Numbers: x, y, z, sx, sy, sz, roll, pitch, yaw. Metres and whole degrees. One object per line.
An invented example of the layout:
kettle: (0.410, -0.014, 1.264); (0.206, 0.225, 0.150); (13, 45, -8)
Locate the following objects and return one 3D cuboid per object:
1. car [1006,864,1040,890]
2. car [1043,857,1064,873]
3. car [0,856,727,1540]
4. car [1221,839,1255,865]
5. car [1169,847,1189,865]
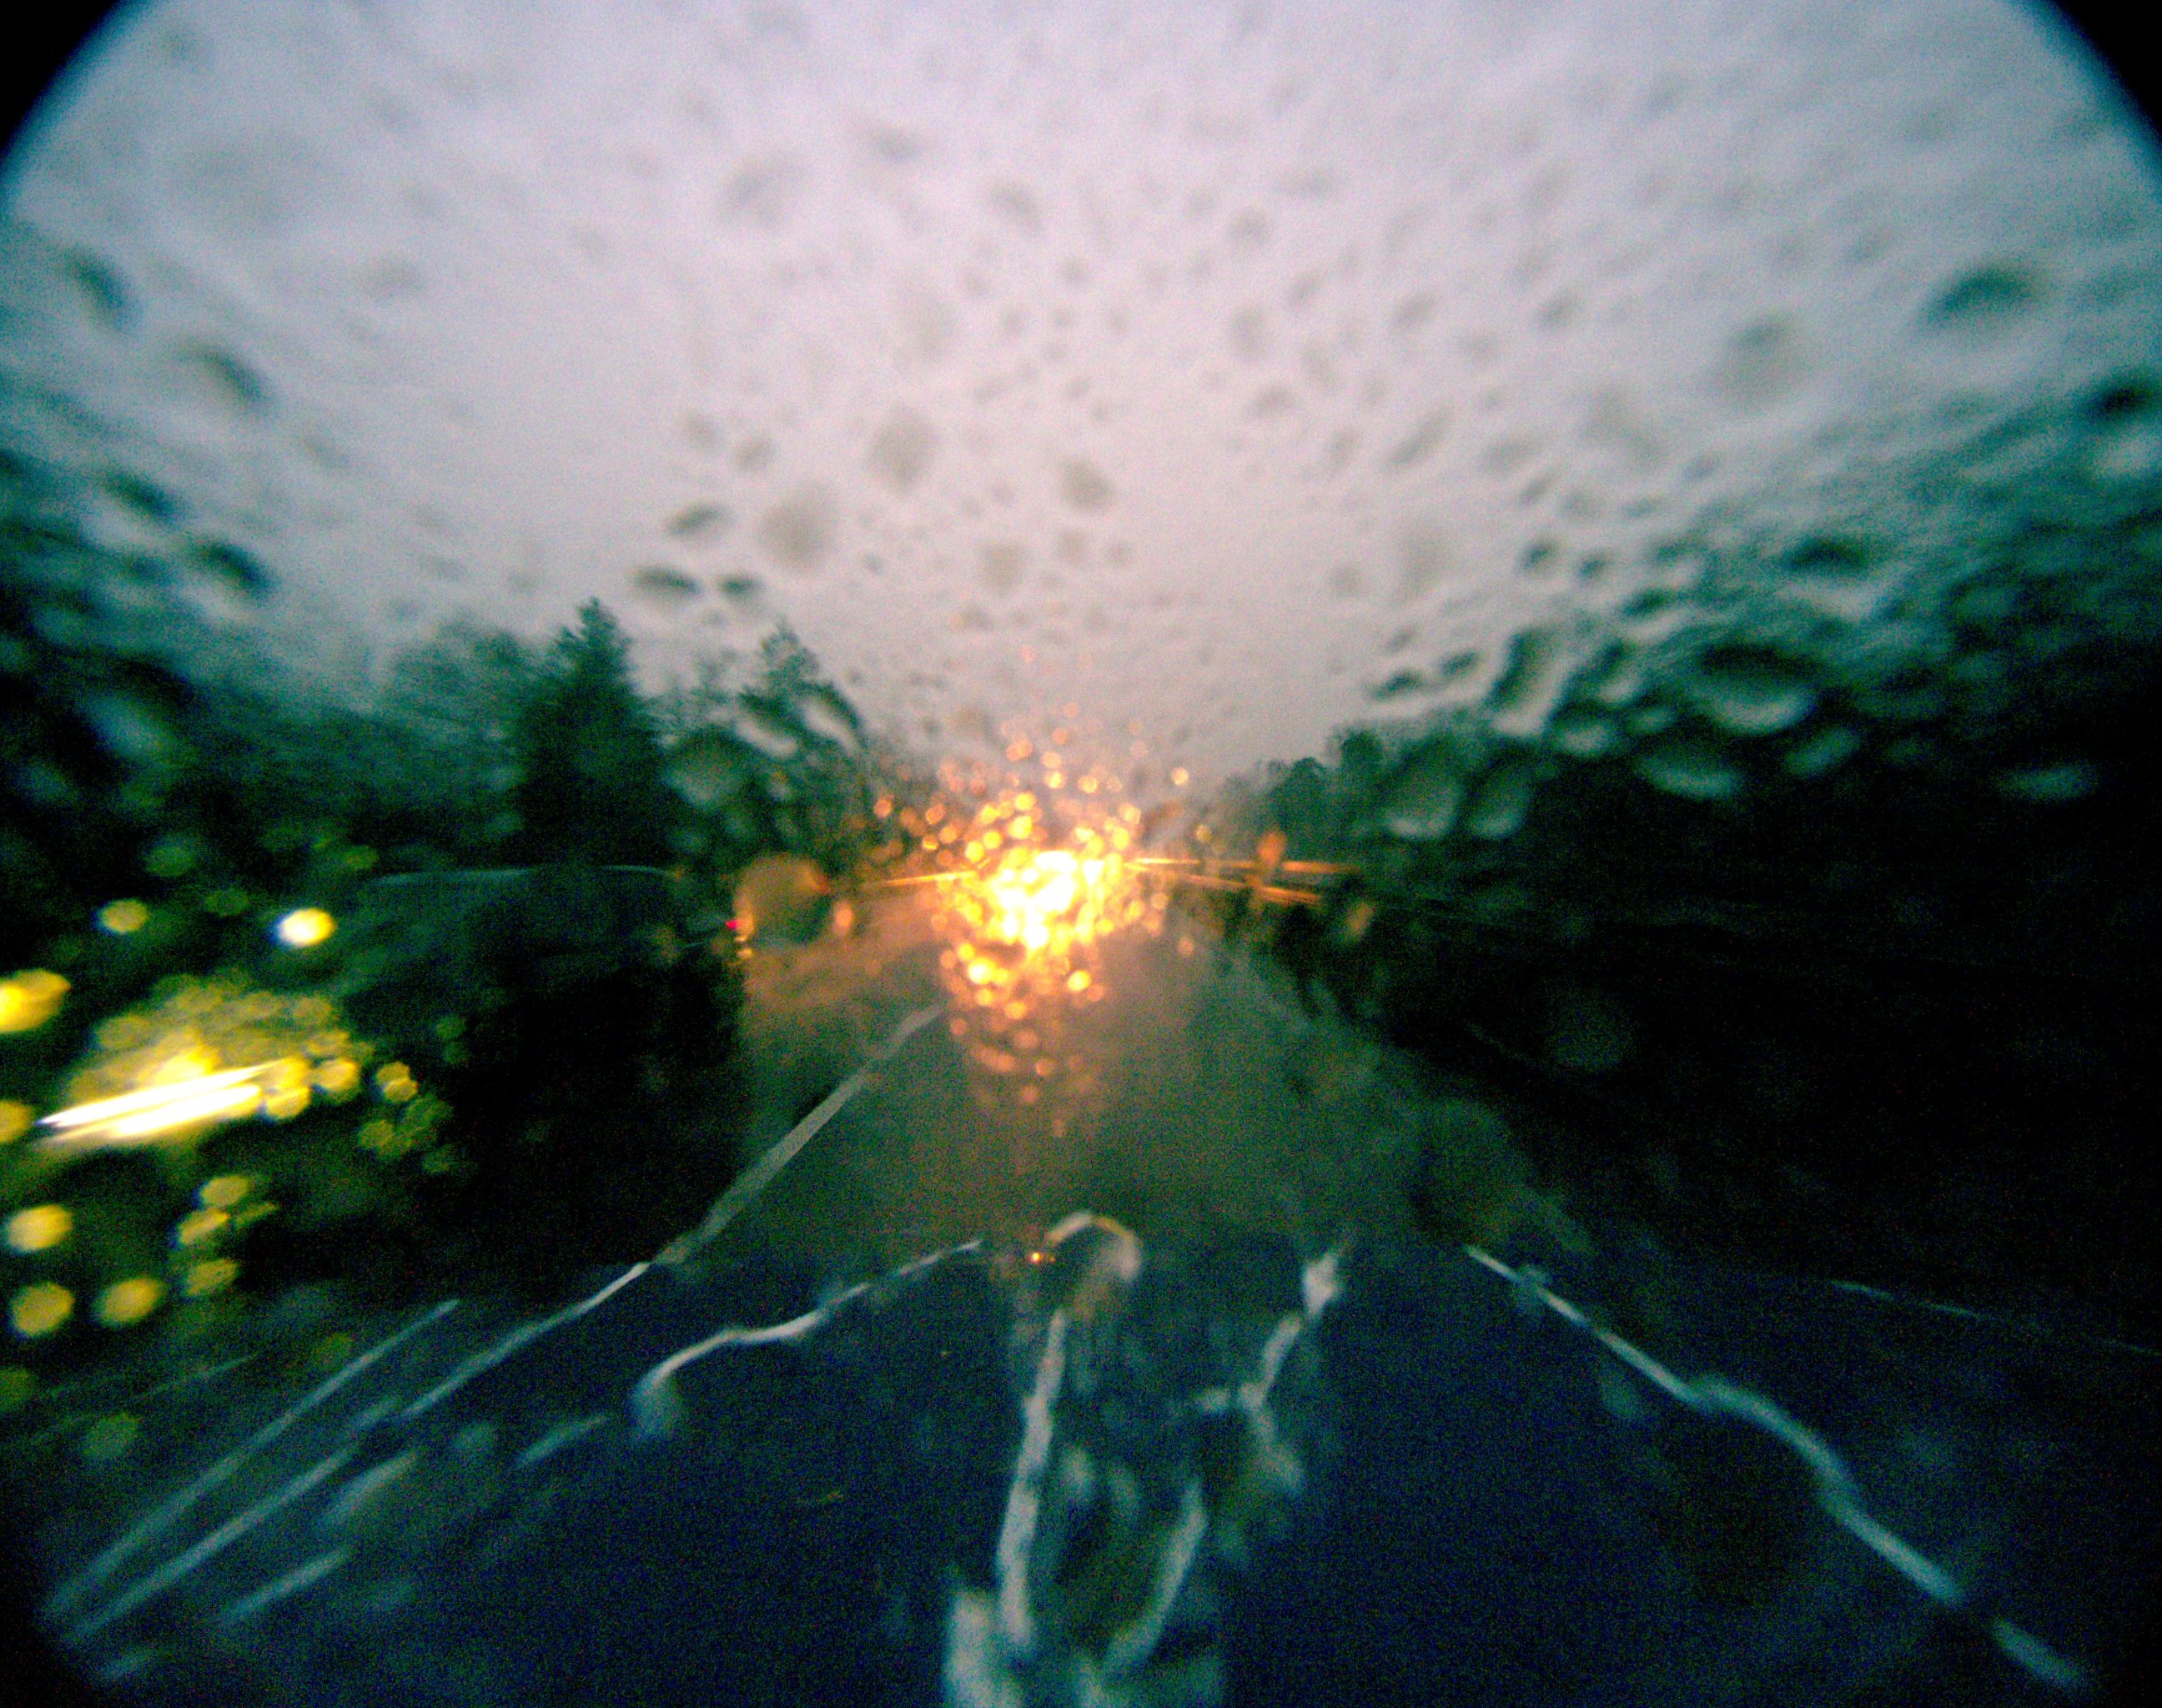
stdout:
car: (-3.375, 1.313, 44.785); (1.603, 1.358, 3.305); (-2, 0, 1)
car: (-2.646, 1.051, 73.390); (1.741, 1.441, 4.000); (-2, 1, 1)
car: (-3.803, 0.961, 3.992); (1.929, 1.781, 3.940); (-2, 1, 1)
car: (11.838, -0.181, 57.559); (1.761, 1.824, 3.912); (-2, 1, 0)
car: (13.160, 0.244, 102.265); (2.036, 2.303, 5.461); (-2, 1, 3)
